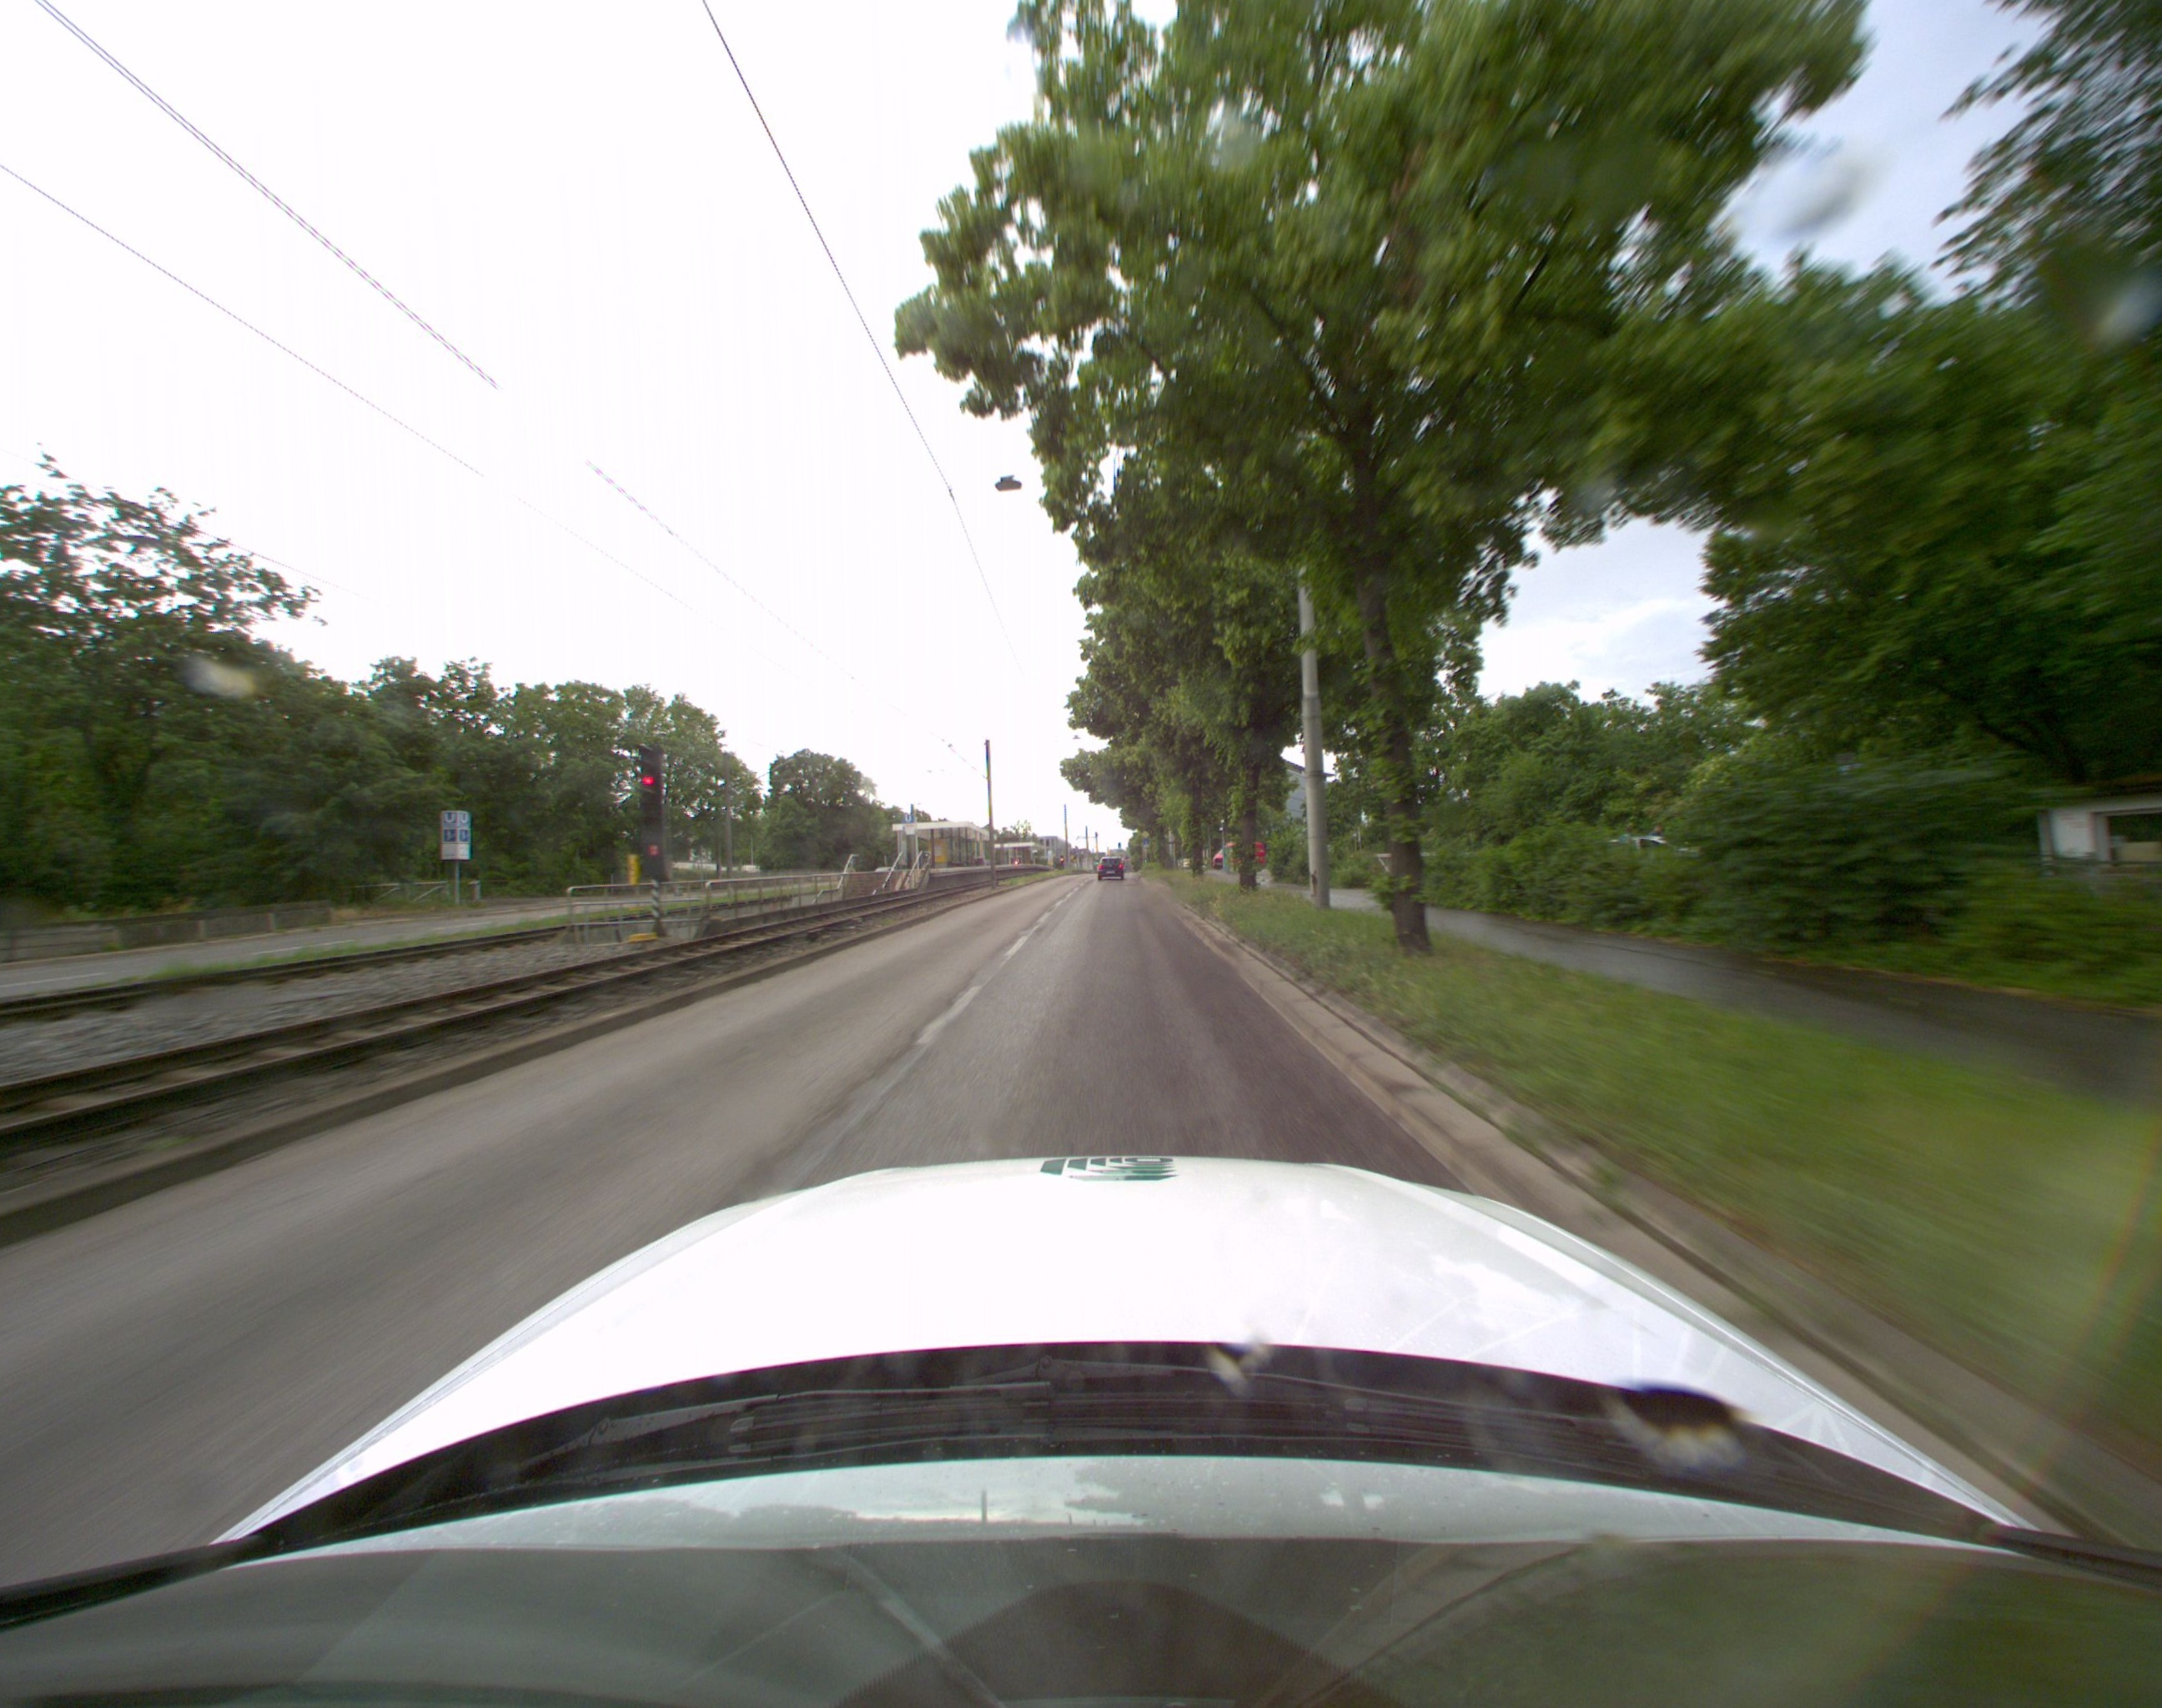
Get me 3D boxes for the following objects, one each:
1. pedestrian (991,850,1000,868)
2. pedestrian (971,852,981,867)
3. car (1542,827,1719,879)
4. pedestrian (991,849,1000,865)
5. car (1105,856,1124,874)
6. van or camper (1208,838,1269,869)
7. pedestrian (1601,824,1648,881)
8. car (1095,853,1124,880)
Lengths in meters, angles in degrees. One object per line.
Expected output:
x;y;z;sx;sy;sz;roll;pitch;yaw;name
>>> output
-9.154;0.569;87.191;0.745;1.909;0.837;-1;1;-18;pedestrian
-8.782;0.454;67.960;0.707;1.225;0.620;-2;-1;3;pedestrian
18.717;0.012;27.912;2.010;1.579;4.596;-2;-1;-39;car
-9.051;0.284;86.217;0.797;1.647;0.913;-1;1;-18;pedestrian
3.089;1.024;75.099;1.680;1.517;4.003;-3;0;3;car
12.681;-0.024;65.248;5.422;2.406;2.016;1;0;-45;van or camper
17.792;-0.061;26.670;0.901;1.771;0.932;-4;-1;-40;pedestrian
1.840;0.760;52.255;1.720;1.540;4.002;-3;0;2;car
